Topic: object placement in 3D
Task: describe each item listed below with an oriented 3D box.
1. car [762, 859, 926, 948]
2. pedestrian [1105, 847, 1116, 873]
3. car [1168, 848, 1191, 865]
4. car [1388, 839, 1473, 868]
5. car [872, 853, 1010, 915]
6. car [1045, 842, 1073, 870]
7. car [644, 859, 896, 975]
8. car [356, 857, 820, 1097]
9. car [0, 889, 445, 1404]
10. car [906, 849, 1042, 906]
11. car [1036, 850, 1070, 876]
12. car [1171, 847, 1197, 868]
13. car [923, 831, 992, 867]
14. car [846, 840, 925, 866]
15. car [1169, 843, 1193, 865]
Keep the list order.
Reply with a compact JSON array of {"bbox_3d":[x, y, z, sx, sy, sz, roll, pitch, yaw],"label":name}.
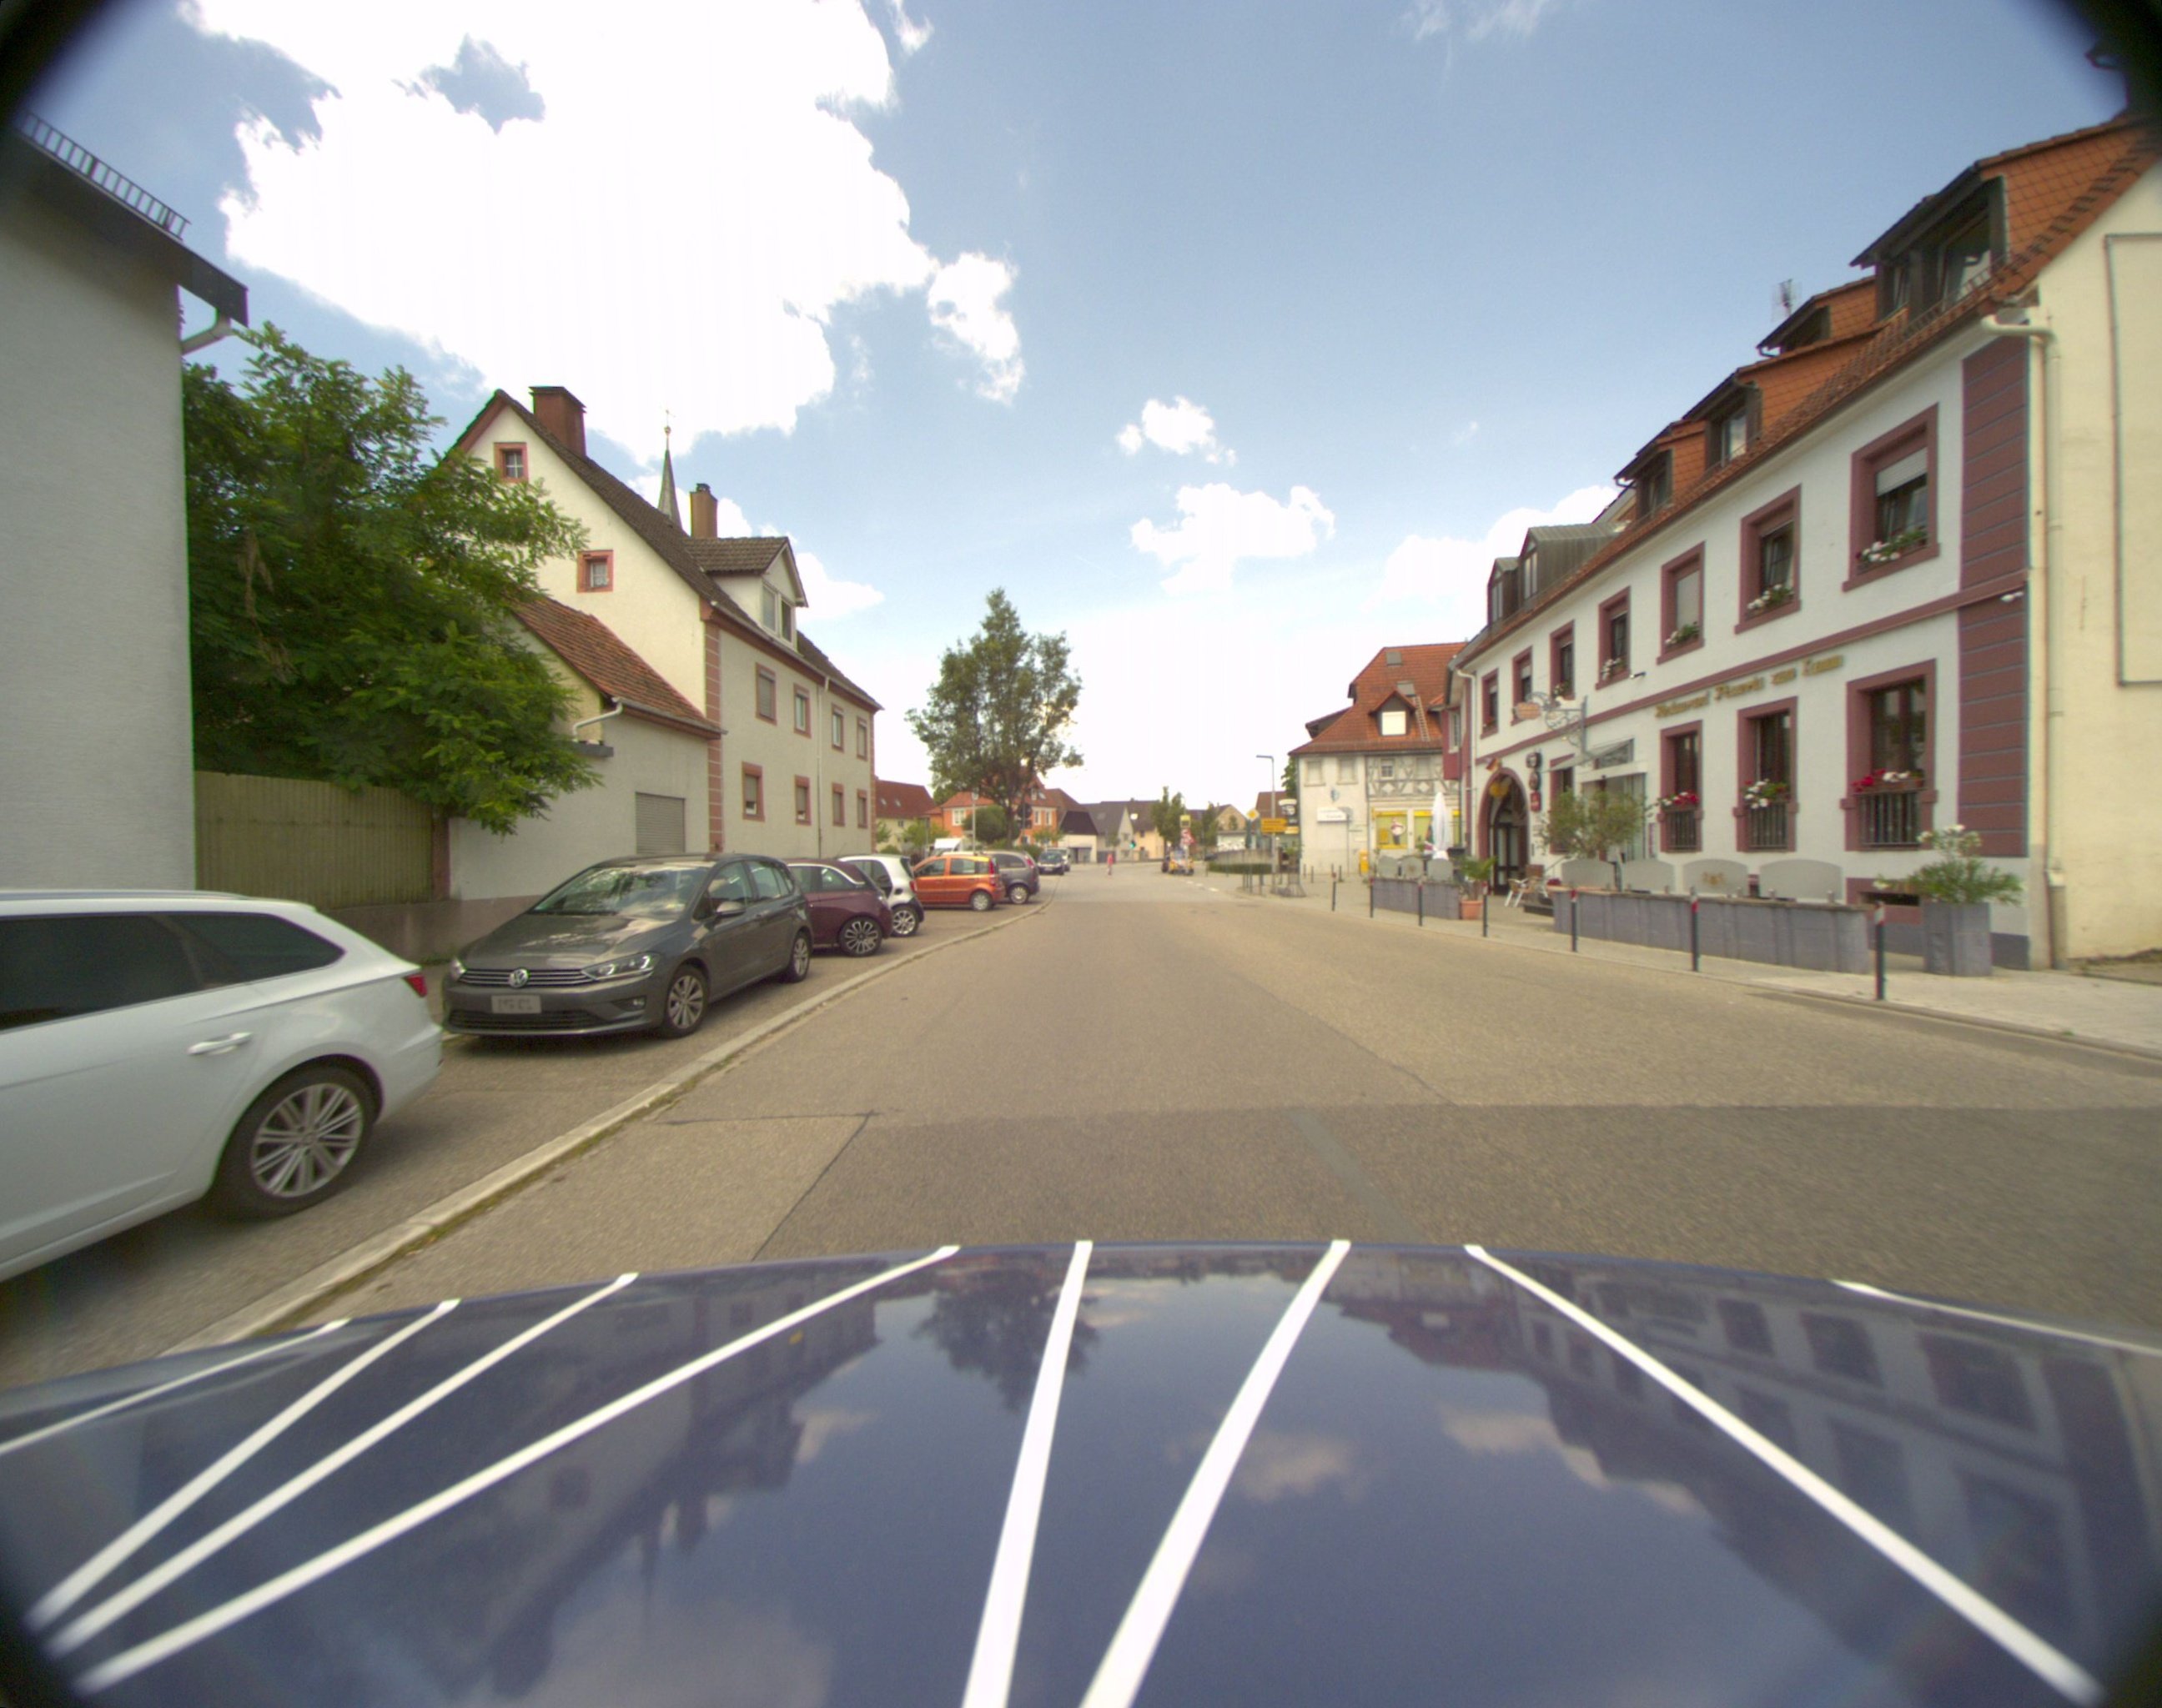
[{"bbox_3d":[-4.517,0.857,14.414,2.791,1.496,1.874,0,1,-22],"label":"car"},{"bbox_3d":[1.790,0.363,46.562,0.640,1.619,0.620,0,1,5],"label":"pedestrian"},{"bbox_3d":[8.183,0.197,63.109,1.819,1.415,4.540,0,0,7],"label":"car"},{"bbox_3d":[19.191,-0.024,41.837,3.947,1.509,1.775,-1,1,12],"label":"car"},{"bbox_3d":[-3.752,0.781,20.718,3.385,1.568,1.726,1,1,2],"label":"car"},{"bbox_3d":[-1.771,0.144,63.249,1.947,2.165,5.101,2,1,2],"label":"car"},{"bbox_3d":[-4.607,0.871,11.449,3.241,1.496,1.823,1,0,-25],"label":"car"},{"bbox_3d":[-4.130,0.854,7.374,1.666,1.615,4.271,0,0,1],"label":"car"},{"bbox_3d":[-4.345,0.959,1.851,1.999,1.509,4.370,0,1,-2],"label":"car"},{"bbox_3d":[-3.154,0.674,22.985,3.858,1.568,1.850,1,1,-2],"label":"car"},{"bbox_3d":[-1.821,0.562,51.104,1.773,1.555,4.419,2,1,4],"label":"car"},{"bbox_3d":[7.586,0.245,56.393,1.672,1.466,3.964,0,0,4],"label":"car"},{"bbox_3d":[-10.469,-0.465,65.342,2.755,2.946,7.123,1,1,19],"label":"car"},{"bbox_3d":[-18.836,-0.125,73.542,6.979,2.463,2.646,0,1,-42],"label":"car"},{"bbox_3d":[9.301,0.021,70.450,1.990,1.979,5.048,0,0,10],"label":"car"}]
